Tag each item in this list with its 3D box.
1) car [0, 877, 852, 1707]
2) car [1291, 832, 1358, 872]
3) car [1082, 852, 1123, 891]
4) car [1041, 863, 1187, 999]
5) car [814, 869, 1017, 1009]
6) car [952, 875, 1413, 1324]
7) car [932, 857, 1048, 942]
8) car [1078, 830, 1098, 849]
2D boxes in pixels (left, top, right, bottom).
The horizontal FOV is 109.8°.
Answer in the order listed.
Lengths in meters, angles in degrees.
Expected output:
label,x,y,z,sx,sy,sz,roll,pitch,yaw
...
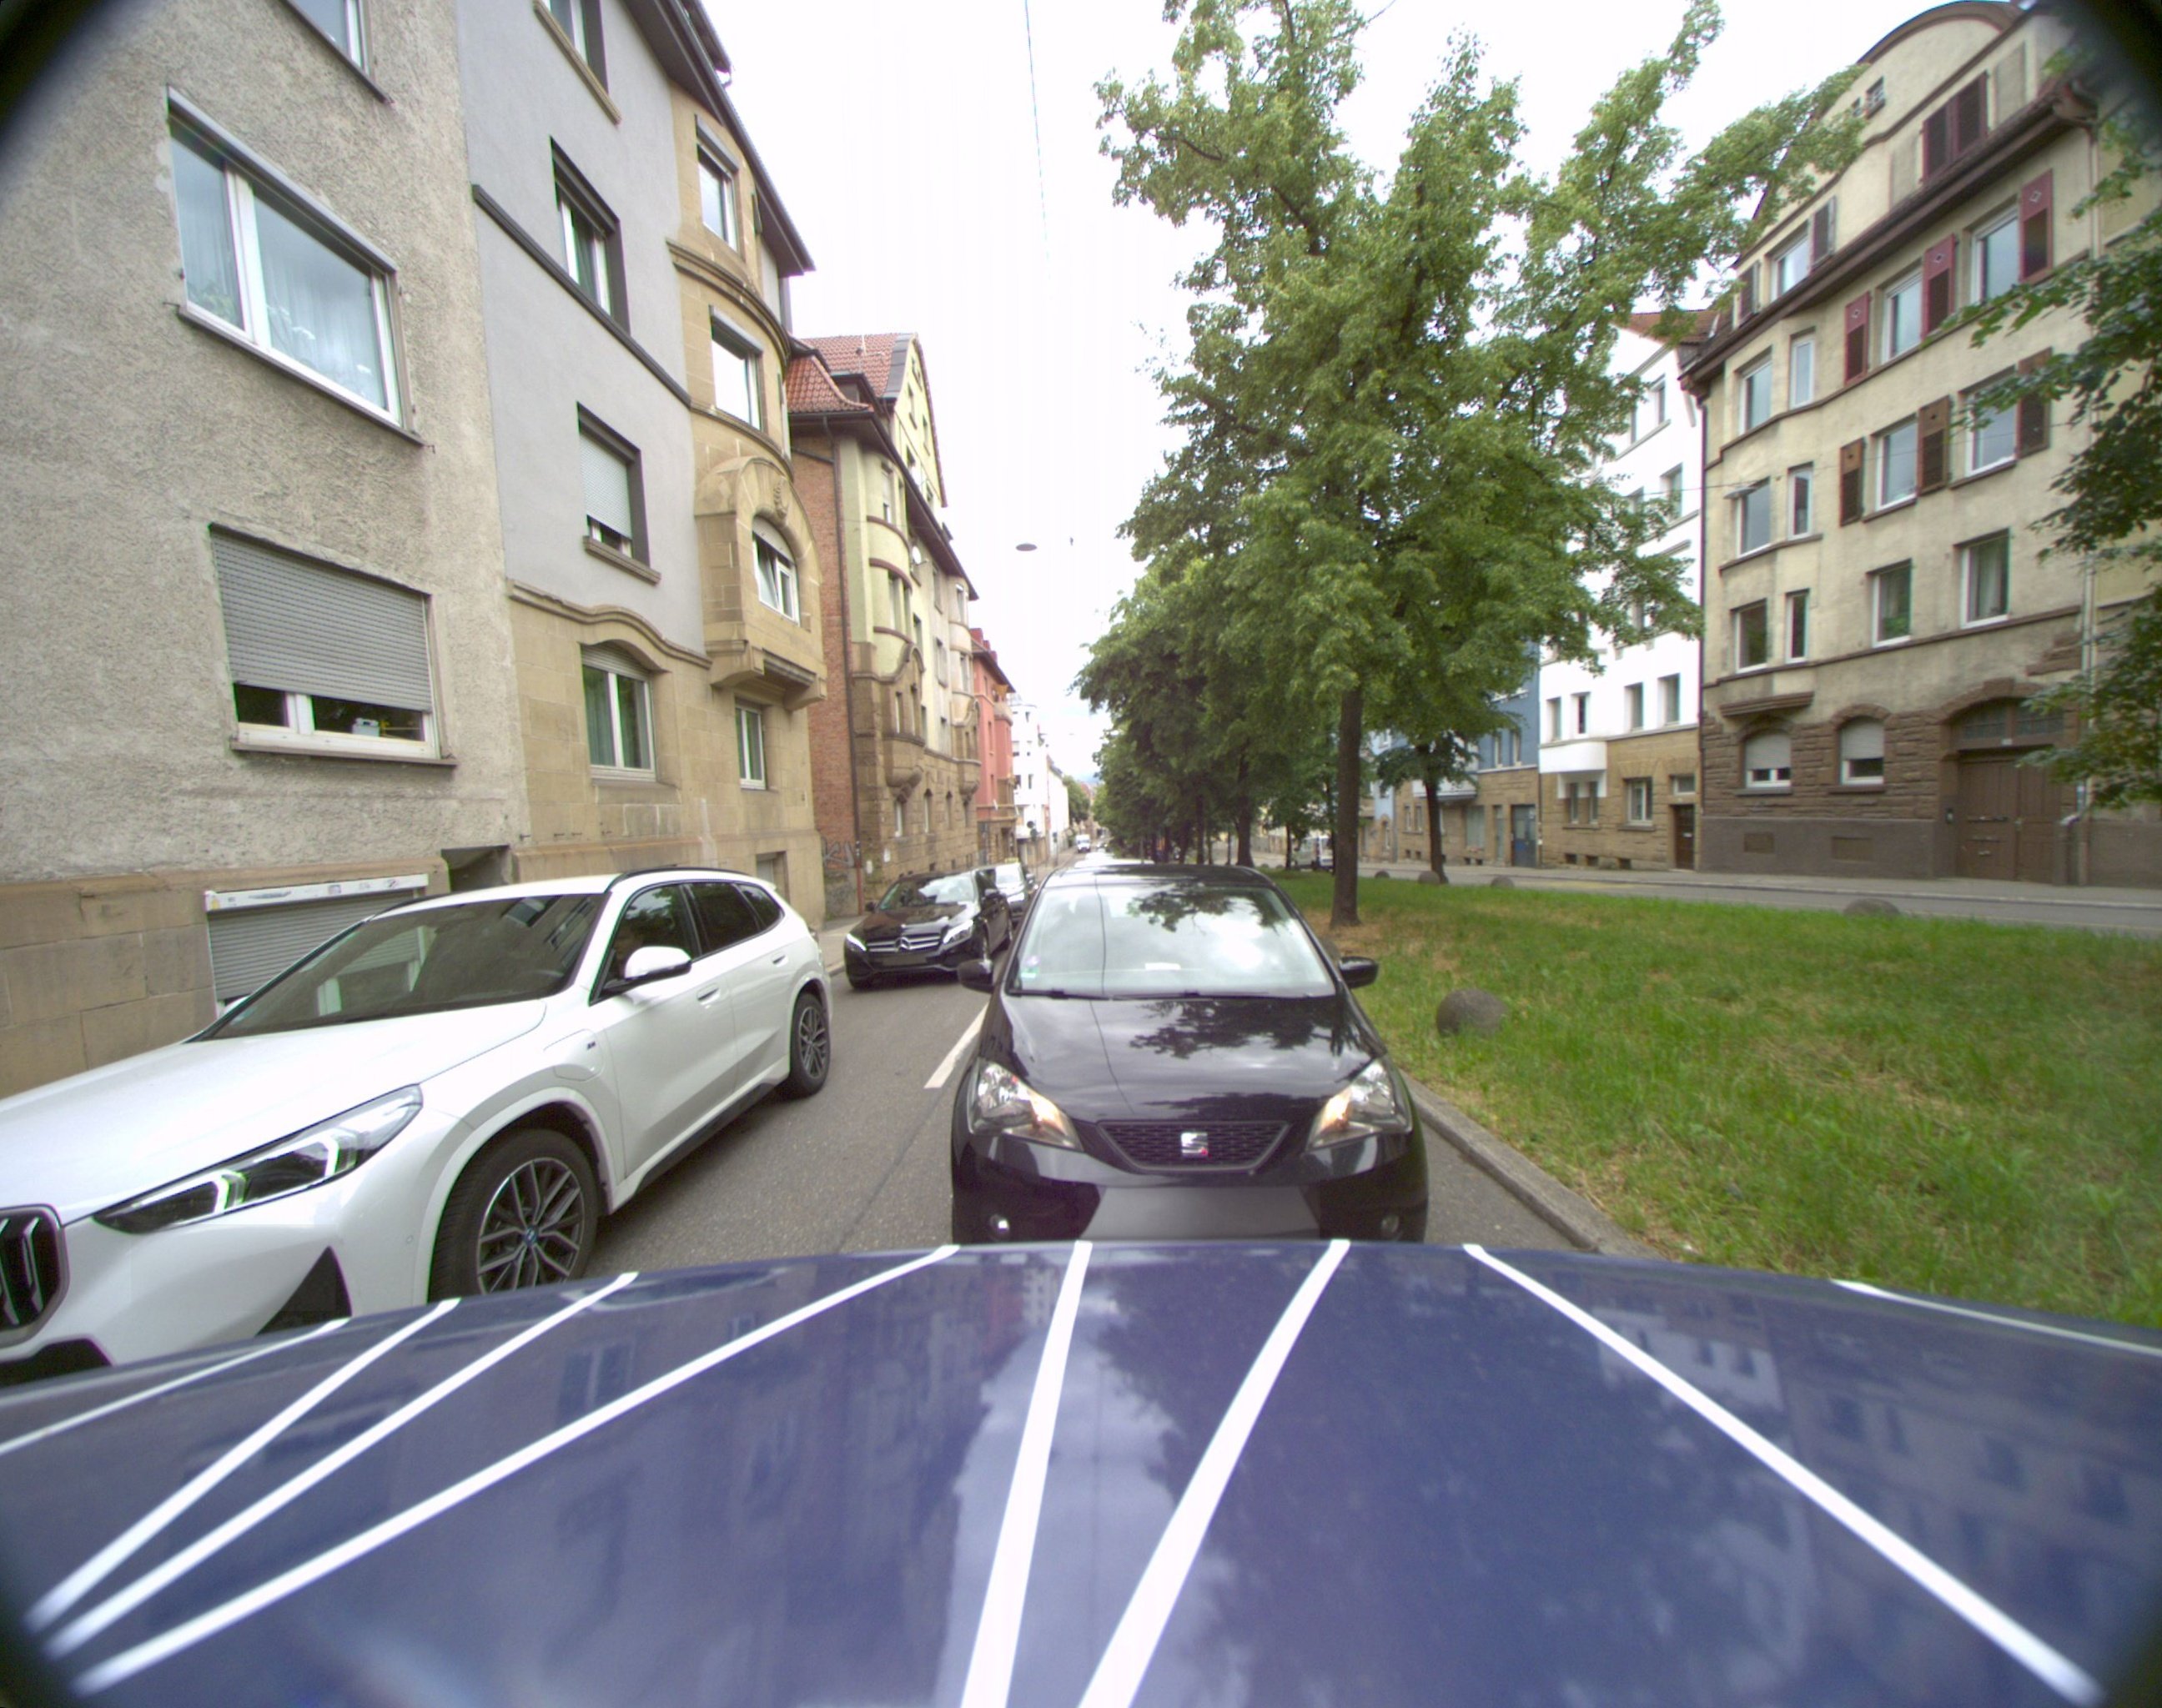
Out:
label,x,y,z,sx,sy,sz,roll,pitch,yaw
car,-2.801,1.074,3.728,1.859,1.547,4.350,-6,1,0
car,13.088,-0.100,41.259,1.998,1.933,5.307,-3,0,2
car,0.886,0.725,32.776,1.607,1.492,3.737,-2,1,1
car,0.413,0.936,10.772,1.664,1.456,3.580,-2,1,1
car,-2.163,1.056,11.211,1.884,1.369,4.205,-6,1,1
car,0.379,0.917,4.320,1.611,1.457,3.296,0,1,1
car,-1.994,0.959,17.974,1.936,1.506,4.303,-6,1,2
car,1.202,-2.348,121.262,2.715,2.879,6.454,-2,1,4
